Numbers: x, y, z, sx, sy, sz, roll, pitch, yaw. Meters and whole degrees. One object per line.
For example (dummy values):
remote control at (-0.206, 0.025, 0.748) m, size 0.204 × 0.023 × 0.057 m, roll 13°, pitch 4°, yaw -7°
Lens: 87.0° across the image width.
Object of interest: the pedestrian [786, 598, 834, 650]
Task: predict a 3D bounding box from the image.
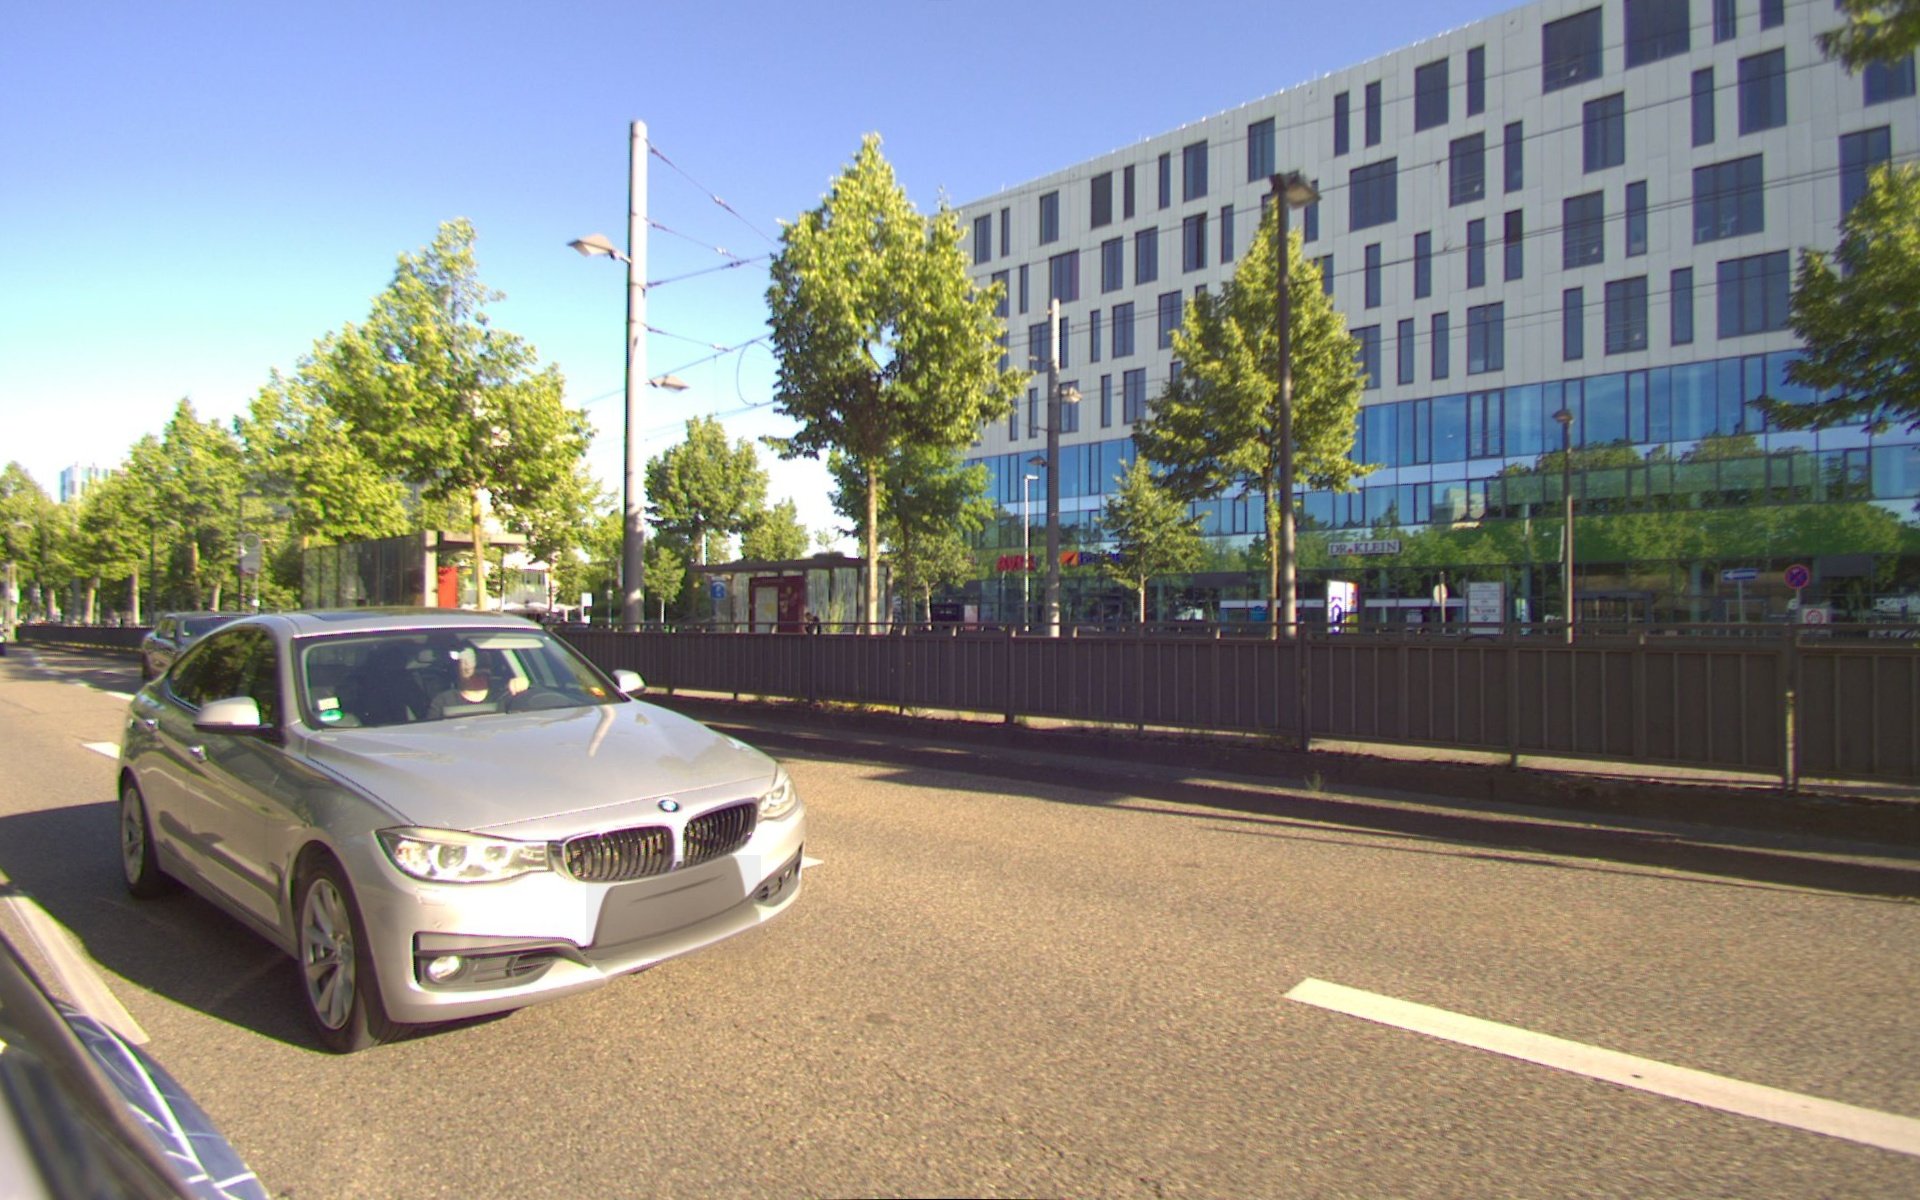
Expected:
pedestrian at (-4.329, 0.693, 29.221) m, size 1.053 × 1.477 × 0.845 m, roll 0°, pitch -1°, yaw -44°

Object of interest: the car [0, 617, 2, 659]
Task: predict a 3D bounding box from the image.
car at (-37.858, 1.456, 38.387) m, size 4.340 × 1.538 × 1.780 m, roll -1°, pitch 0°, yaw 41°

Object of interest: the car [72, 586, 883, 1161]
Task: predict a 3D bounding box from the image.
car at (-2.753, 0.761, 5.002) m, size 4.907 × 1.538 × 1.780 m, roll -1°, pitch 0°, yaw 41°

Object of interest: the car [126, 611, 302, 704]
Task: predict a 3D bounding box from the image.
car at (-14.309, 1.024, 19.325) m, size 4.340 × 1.538 × 1.780 m, roll -1°, pitch 0°, yaw 41°
